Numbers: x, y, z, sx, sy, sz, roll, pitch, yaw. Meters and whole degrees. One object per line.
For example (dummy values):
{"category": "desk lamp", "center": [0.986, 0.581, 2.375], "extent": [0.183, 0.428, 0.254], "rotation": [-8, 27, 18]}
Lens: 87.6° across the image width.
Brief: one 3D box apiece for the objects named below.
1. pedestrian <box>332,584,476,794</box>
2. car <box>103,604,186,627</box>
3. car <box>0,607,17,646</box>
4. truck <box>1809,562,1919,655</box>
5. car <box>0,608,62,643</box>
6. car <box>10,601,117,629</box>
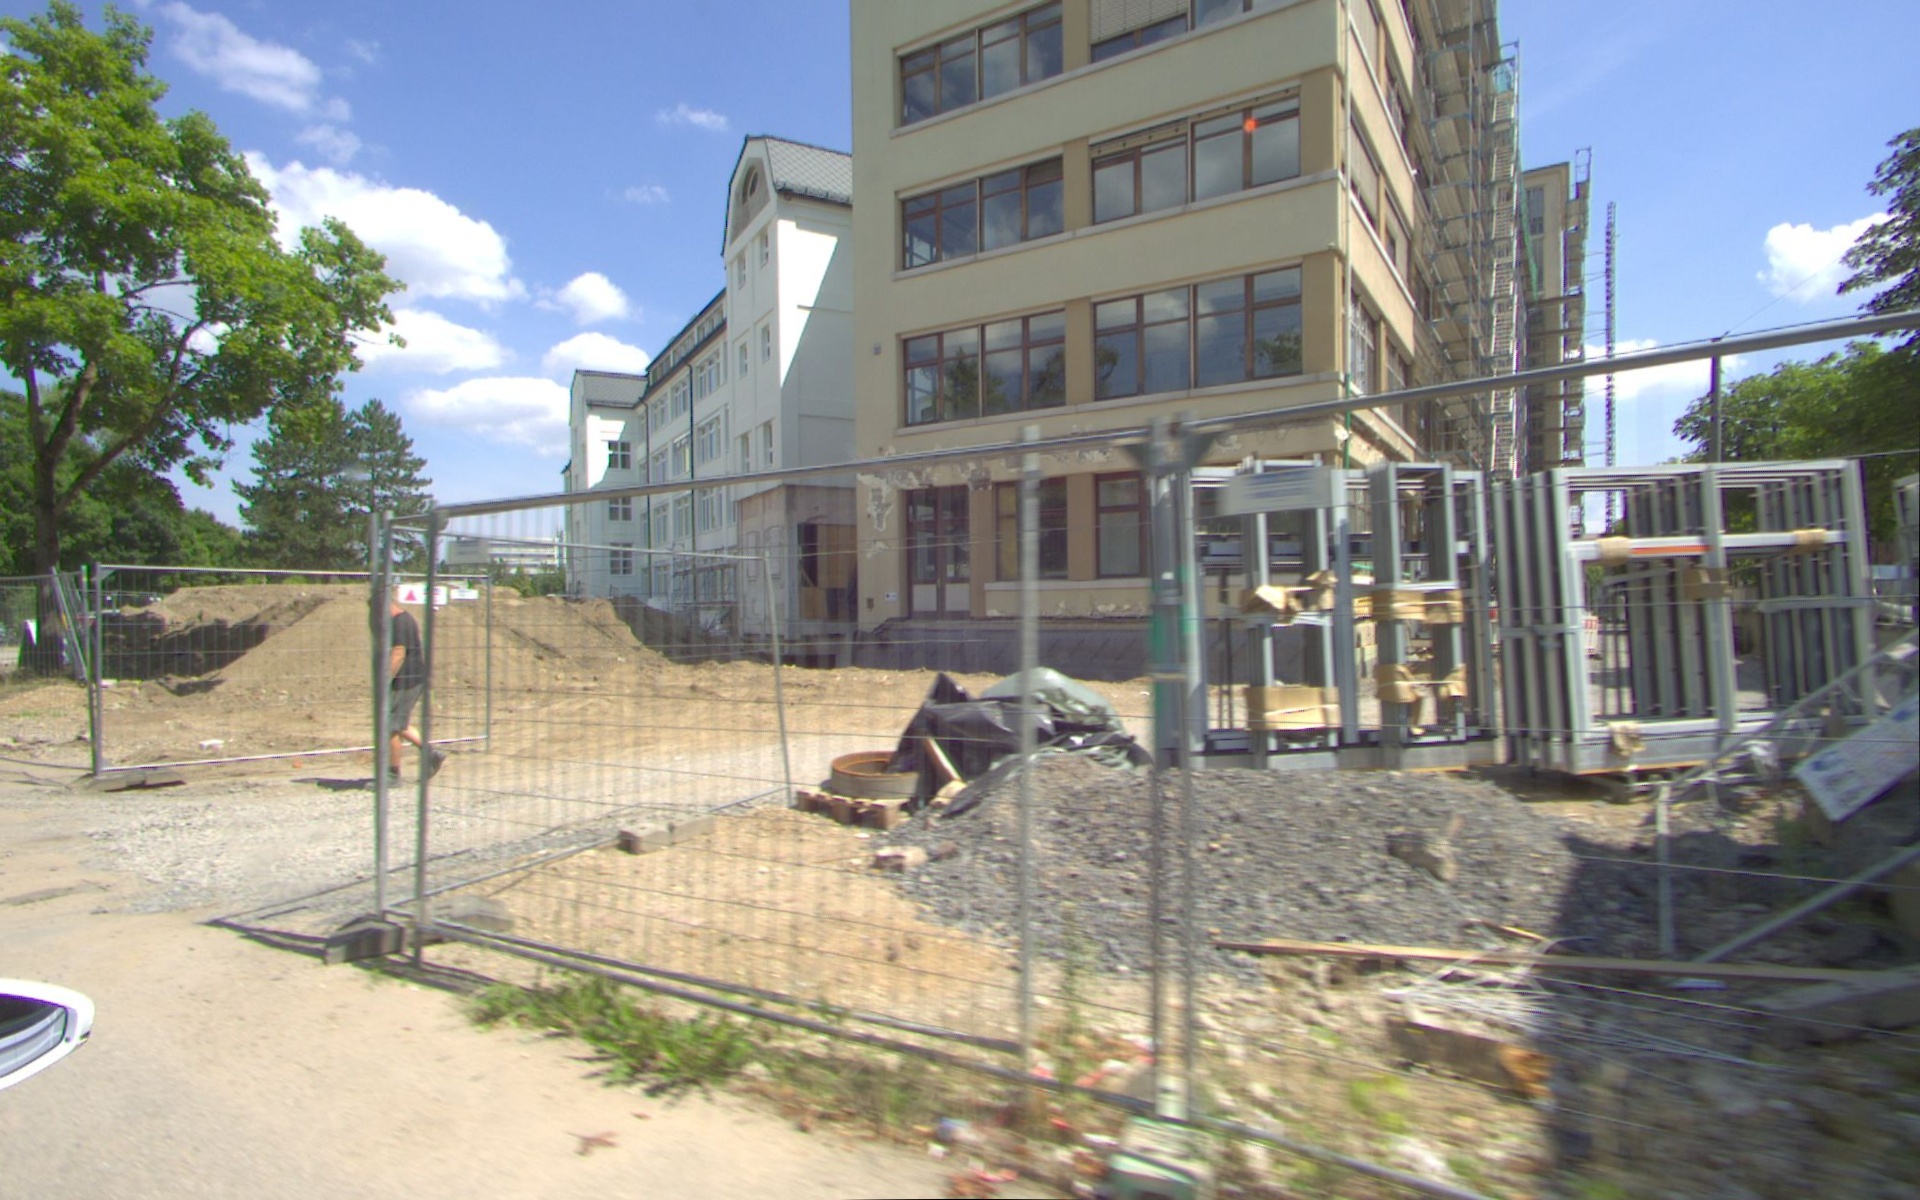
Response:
{"category": "pedestrian", "center": [-5.237, 0.789, 9.448], "extent": [0.861, 1.844, 0.959], "rotation": [0, 1, 42]}
{"category": "car", "center": [-59.482, 1.098, 73.106], "extent": [4.456, 1.619, 1.716], "rotation": [0, 0, -31]}
{"category": "car", "center": [-42.393, 1.106, 41.545], "extent": [4.456, 1.619, 1.716], "rotation": [0, 0, -31]}
{"category": "truck", "center": [27.218, 0.246, 29.672], "extent": [1.996, 2.518, 5.846], "rotation": [0, 0, 29]}
{"category": "car", "center": [-45.079, 1.190, 46.651], "extent": [4.455, 1.619, 1.926], "rotation": [0, 0, -30]}
{"category": "car", "center": [-52.972, 0.869, 59.284], "extent": [4.456, 1.619, 1.716], "rotation": [0, 0, -31]}
